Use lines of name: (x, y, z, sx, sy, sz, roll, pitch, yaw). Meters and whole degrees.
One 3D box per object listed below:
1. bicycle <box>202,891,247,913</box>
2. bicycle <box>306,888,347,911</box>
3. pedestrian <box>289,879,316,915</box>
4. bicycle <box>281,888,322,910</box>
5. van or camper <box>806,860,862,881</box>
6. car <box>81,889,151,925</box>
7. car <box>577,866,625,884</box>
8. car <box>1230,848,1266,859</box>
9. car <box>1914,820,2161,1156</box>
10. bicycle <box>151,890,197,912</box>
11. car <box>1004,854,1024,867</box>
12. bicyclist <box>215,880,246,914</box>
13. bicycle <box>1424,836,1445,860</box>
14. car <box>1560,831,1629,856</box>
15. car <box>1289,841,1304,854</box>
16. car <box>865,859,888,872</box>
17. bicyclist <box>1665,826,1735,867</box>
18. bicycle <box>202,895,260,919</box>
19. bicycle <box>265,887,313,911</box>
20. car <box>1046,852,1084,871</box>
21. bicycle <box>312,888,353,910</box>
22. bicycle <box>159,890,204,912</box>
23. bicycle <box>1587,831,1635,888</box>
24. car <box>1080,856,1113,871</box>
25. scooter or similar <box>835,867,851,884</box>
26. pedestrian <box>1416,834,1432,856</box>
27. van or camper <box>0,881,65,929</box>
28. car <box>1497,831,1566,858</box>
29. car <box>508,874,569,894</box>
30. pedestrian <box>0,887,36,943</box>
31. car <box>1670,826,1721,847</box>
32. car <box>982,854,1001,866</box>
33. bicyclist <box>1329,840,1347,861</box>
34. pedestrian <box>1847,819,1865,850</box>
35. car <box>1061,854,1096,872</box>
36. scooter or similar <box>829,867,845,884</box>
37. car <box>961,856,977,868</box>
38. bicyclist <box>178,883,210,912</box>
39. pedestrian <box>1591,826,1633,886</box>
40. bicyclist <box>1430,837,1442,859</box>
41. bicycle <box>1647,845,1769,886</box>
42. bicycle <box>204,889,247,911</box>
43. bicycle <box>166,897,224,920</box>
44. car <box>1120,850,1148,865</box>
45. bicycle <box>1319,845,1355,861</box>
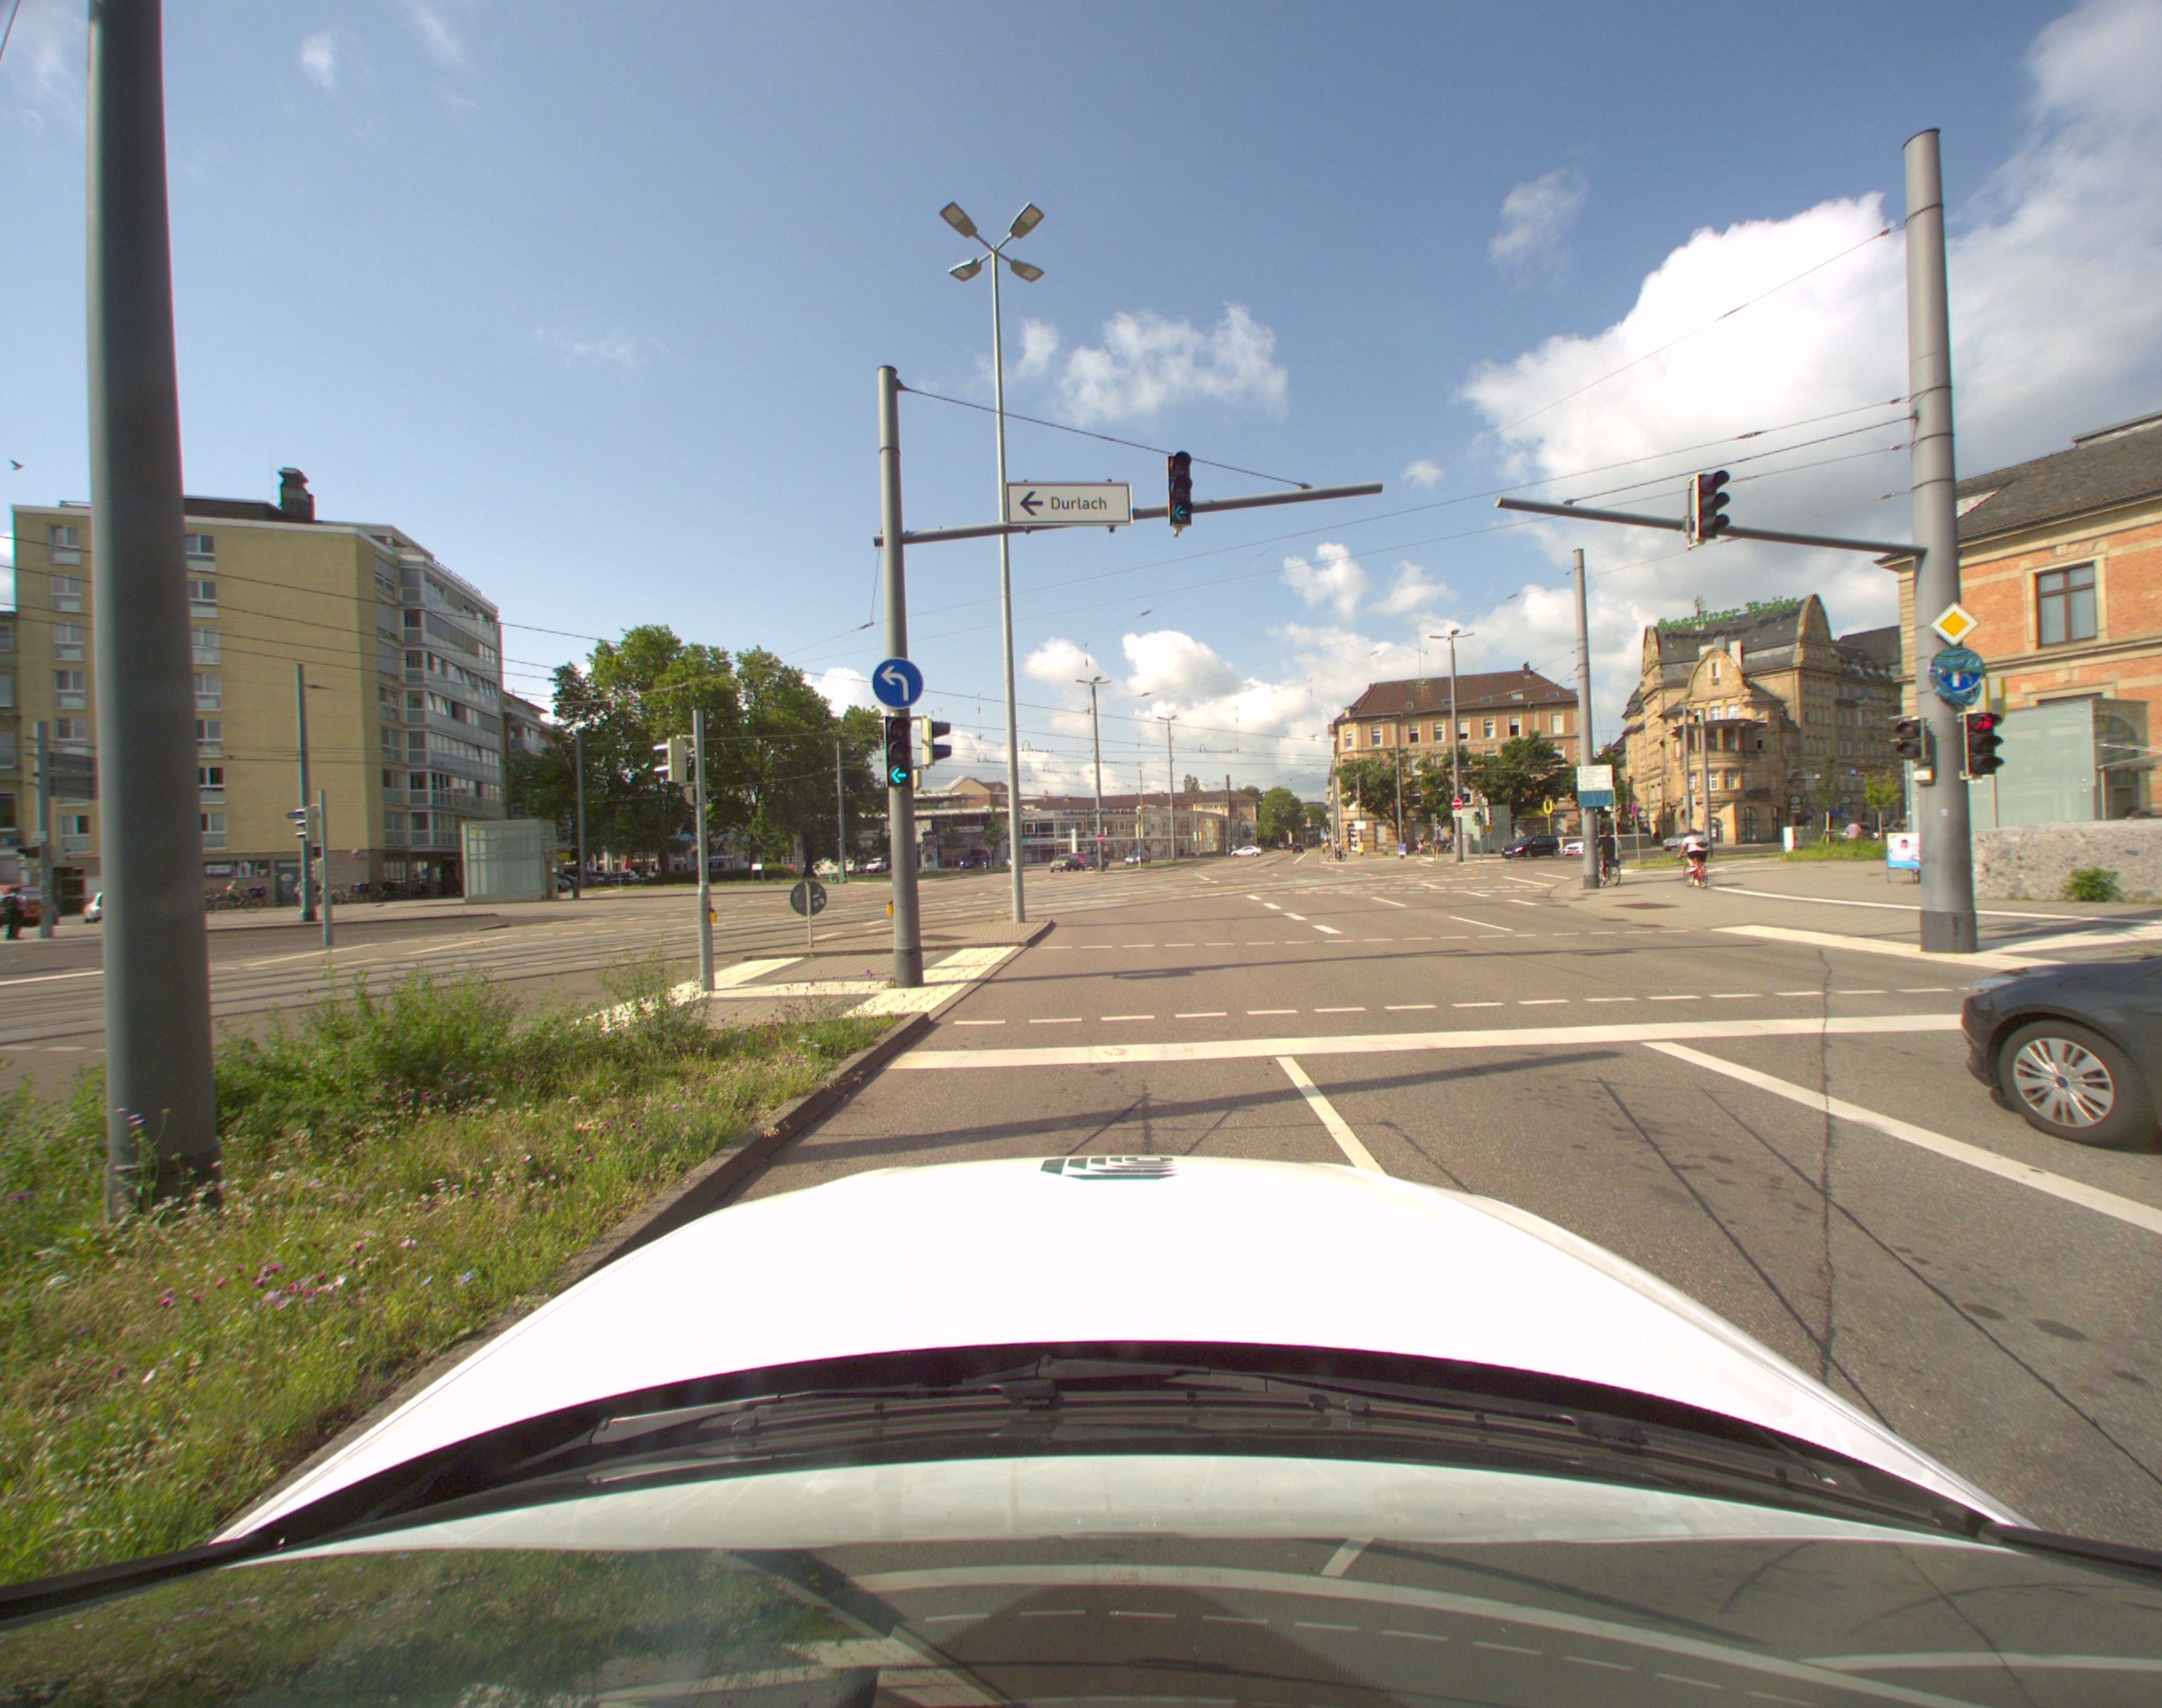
bicycle: (-49.151, 2.732, 46.738, 1.643, 1.202, 0.546, 3, -3, -15)
bicycle: (-44.605, 2.691, 48.162, 1.643, 1.272, 0.528, 3, -3, -15)
pedestrian: (-38.976, 2.152, 40.786, 0.789, 1.760, 0.984, 2, -3, -37)
bicycle: (-46.119, 2.651, 48.213, 1.643, 1.272, 0.485, 3, -3, -15)
van or camper: (-29.299, 1.975, 96.770, 5.848, 2.469, 2.396, 0, -1, 5)
car: (-46.593, 2.533, 39.305, 3.467, 1.440, 1.730, 2, -1, 34)
car: (-47.056, 2.035, 79.930, 3.611, 1.594, 1.659, -2, 0, -13)
car: (22.569, -0.054, 109.914, 4.425, 1.464, 1.792, -1, -1, 28)
car: (5.798, 0.618, 2.710, 1.761, 1.528, 4.256, 0, 0, 1)
bicycle: (-51.408, 2.679, 46.176, 1.643, 1.202, 0.485, 3, -3, -15)
car: (-8.584, 0.771, 104.723, 1.911, 1.552, 4.004, -2, 0, 3)
bicyclist: (-45.644, 2.320, 43.712, 0.827, 1.745, 0.708, -2, 0, -17)
bicycle: (26.768, -0.427, 61.673, 0.727, 1.777, 1.636, -2, 0, -2)
car: (36.974, -0.752, 58.645, 4.693, 1.595, 1.983, -3, 0, -25)
car: (34.902, -1.113, 131.809, 1.977, 2.013, 4.020, -2, 0, 20)
car: (-26.122, 1.431, 104.198, 2.062, 1.604, 3.997, -2, 0, -2)
bicyclist: (16.934, -0.194, 22.309, 0.987, 1.028, 1.215, 1, -3, 1)
bicycle: (-45.565, 2.817, 43.699, 1.989, 1.127, 0.785, -2, 0, -16)
bicycle: (-46.283, 2.647, 47.596, 1.892, 1.272, 0.484, 4, 0, -24)
car: (-1.259, 0.584, 66.078, 1.806, 1.513, 4.018, -1, -1, 18)
bicycle: (-44.736, 2.696, 48.682, 1.643, 1.272, 0.485, 3, -3, -15)
bicycle: (-51.566, 2.672, 46.680, 1.643, 1.202, 0.485, 3, -3, -15)
bicycle: (16.814, 0.170, 25.902, 0.996, 1.725, 2.483, -1, -1, 27)
car: (1.301, 0.746, 65.883, 1.608, 1.161, 4.018, -1, -1, 18)
scooter or similar: (-16.250, 1.457, 55.583, 0.377, 1.157, 0.935, 4, 1, 36)
pedestrian: (28.367, -0.738, 67.351, 0.865, 1.810, 0.884, 0, -1, -10)
van or camper: (-46.822, 2.175, 34.376, 4.522, 1.914, 2.002, 0, -1, -20)
car: (30.993, -0.636, 55.992, 4.348, 1.739, 1.983, 0, -1, -26)
car: (-43.295, 2.392, 65.074, 3.570, 1.530, 1.989, 0, -1, -16)
pedestrian: (-34.364, 1.947, 26.025, 0.794, 1.673, 0.840, 3, 1, -17)
car: (52.224, -1.469, 69.244, 4.006, 1.600, 1.741, -2, 0, -24)
car: (-11.262, 0.718, 102.678, 1.913, 1.445, 4.000, -2, 0, 0)
bicyclist: (20.897, -0.303, 66.307, 1.190, 1.658, 0.785, -2, 0, -1)
pedestrian: (38.989, -0.980, 40.953, 0.501, 1.505, 0.501, -2, 0, -33)
car: (-0.168, 0.756, 71.815, 1.978, 1.519, 4.018, -1, -1, 18)
scooter or similar: (-16.759, 1.463, 55.874, 0.934, 1.157, 0.377, 3, 1, -42)
car: (-14.233, 1.019, 103.105, 1.918, 1.445, 3.989, -2, 0, -8)
bicyclist: (-48.256, 2.371, 44.322, 0.832, 1.497, 0.785, -2, 0, -15)
pedestrian: (16.787, 0.071, 25.776, 0.983, 1.841, 1.002, -1, -1, 27)
bicyclist: (26.828, -0.448, 61.516, 0.571, 1.671, 0.656, -2, 0, -2)
bicycle: (16.935, 0.340, 22.151, 0.989, 1.028, 3.109, 1, -2, 1)
bicycle: (-49.570, 2.674, 47.195, 1.643, 1.202, 0.485, 3, -3, -15)
bicycle: (-48.209, 2.947, 44.317, 1.989, 1.127, 0.785, -2, 0, -16)
car: (5.824, 0.414, 88.683, 1.977, 1.552, 4.020, -1, -1, 21)
bicycle: (20.815, -0.087, 66.249, 2.664, 1.170, 0.900, -2, 0, -1)
